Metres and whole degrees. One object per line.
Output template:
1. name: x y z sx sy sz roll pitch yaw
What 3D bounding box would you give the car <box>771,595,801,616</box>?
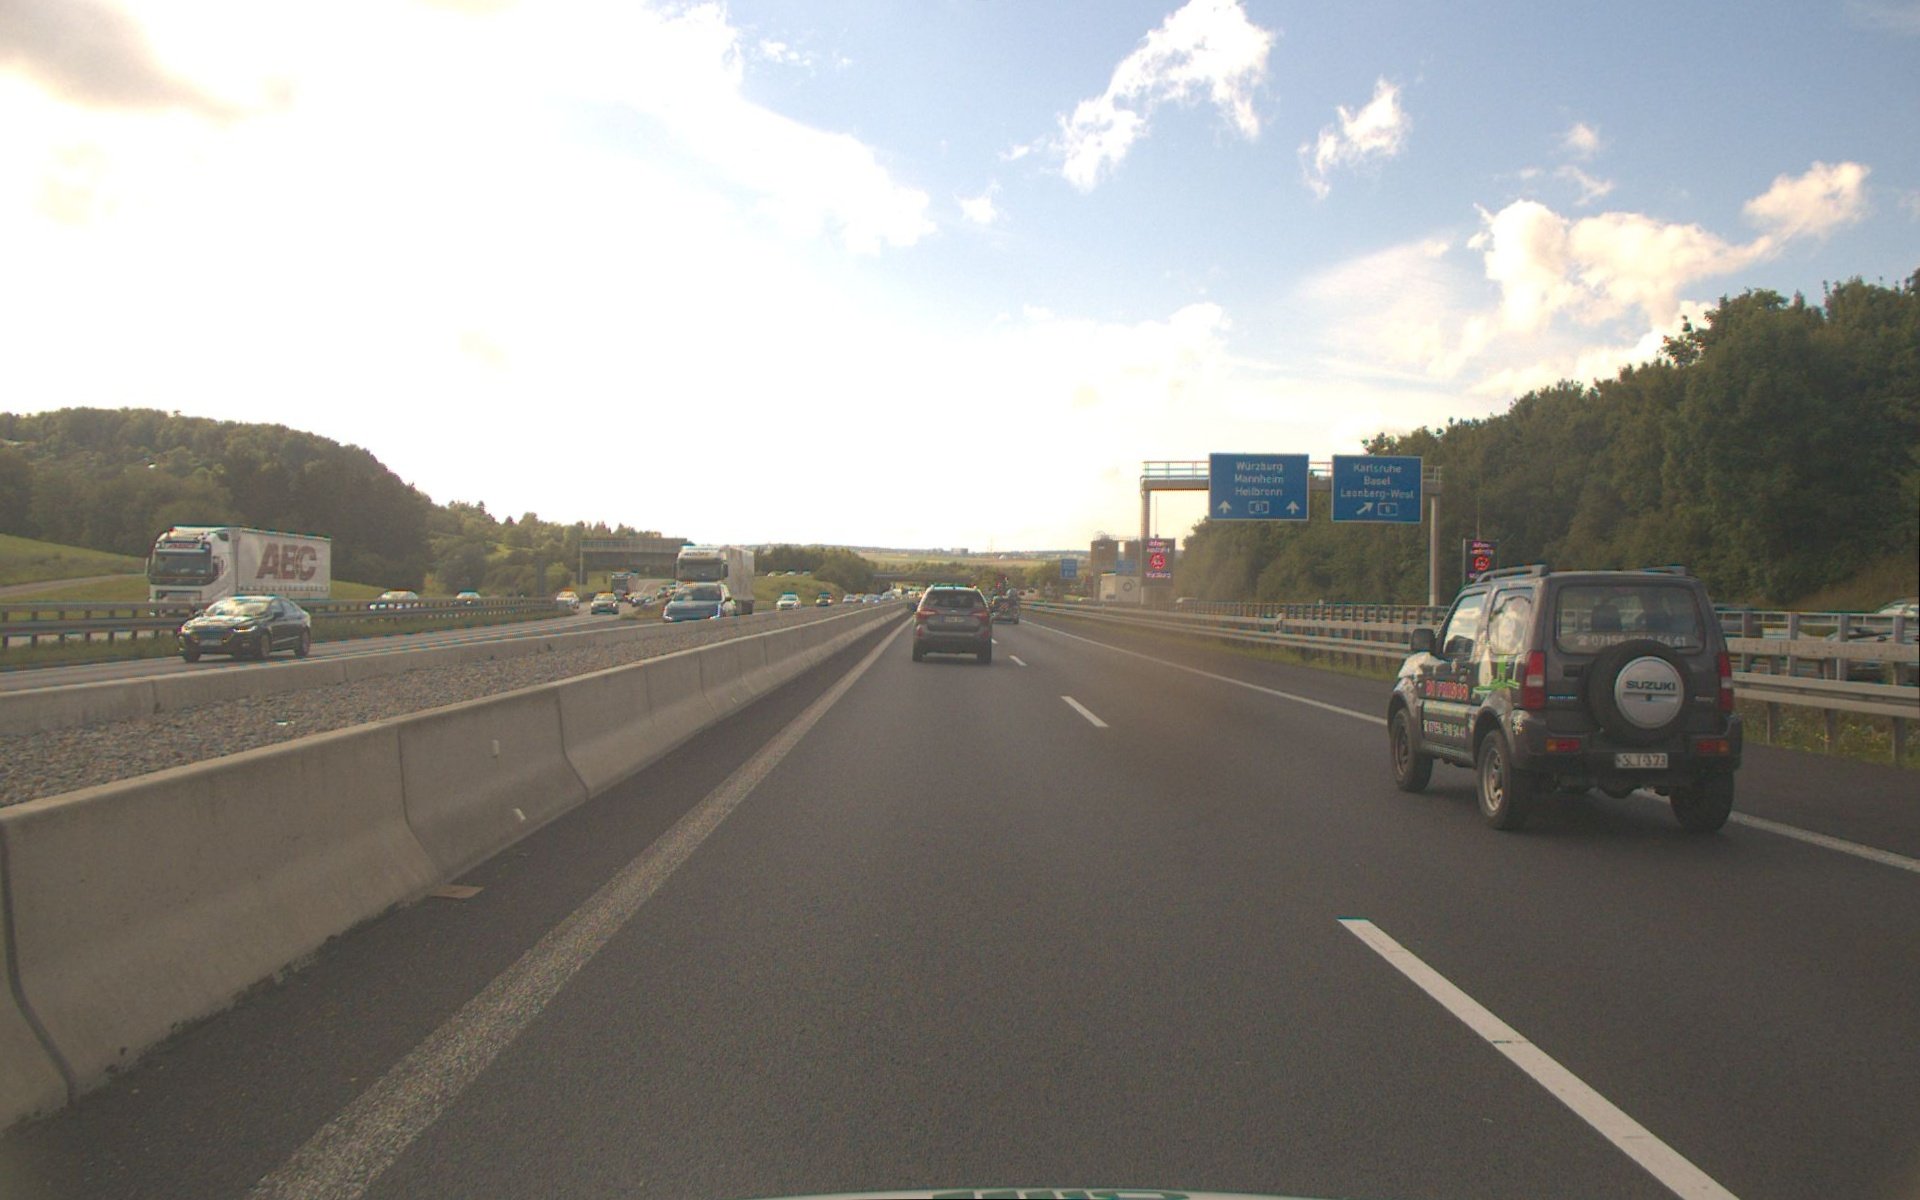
1. car: -14.091 0.448 134.308 1.953 1.646 5.001 0 0 -1

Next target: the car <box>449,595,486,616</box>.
1. car: -40.141 0.437 134.786 1.764 1.646 4.301 0 0 -1

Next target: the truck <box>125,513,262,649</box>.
1. truck: -30.768 -0.724 66.680 2.967 5.232 6.621 0 0 -6

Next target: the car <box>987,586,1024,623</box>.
1. car: 2.660 0.263 97.430 1.953 2.117 3.999 0 0 -1

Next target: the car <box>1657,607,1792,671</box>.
1. car: 21.793 1.071 47.316 1.953 1.738 3.999 0 0 -1

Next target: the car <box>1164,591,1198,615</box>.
1. car: 16.570 0.196 123.908 1.953 1.747 3.999 0 0 -1

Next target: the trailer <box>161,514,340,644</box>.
1. trailer: -31.515 -0.828 74.378 3.048 5.251 14.701 0 0 -6

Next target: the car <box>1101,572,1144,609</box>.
1. car: 16.744 -0.960 170.944 3.504 3.741 7.547 0 0 -1

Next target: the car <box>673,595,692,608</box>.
1. car: -35.235 0.204 210.015 1.764 1.646 4.301 0 0 -1

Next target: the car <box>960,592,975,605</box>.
1. car: 1.044 -0.207 224.626 1.935 1.810 4.119 0 0 -1

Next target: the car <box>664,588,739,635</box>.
1. car: -8.623 0.371 55.583 1.810 1.521 4.972 0 0 -1

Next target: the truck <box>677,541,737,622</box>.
1. truck: -13.416 -0.954 88.037 2.437 4.201 5.298 0 0 -1

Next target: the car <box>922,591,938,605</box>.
1. car: -4.095 -0.275 228.138 2.124 1.876 4.000 0 0 0

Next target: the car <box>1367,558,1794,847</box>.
1. car: 4.363 0.639 12.355 1.632 1.763 4.207 1 0 0

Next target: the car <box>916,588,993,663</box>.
1. car: -0.118 0.572 38.755 1.714 1.659 3.609 0 0 0

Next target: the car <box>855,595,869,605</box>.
1. car: -14.883 0.042 252.438 1.953 1.559 4.506 0 0 -1

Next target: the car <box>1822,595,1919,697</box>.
1. car: 15.178 0.694 25.160 1.953 1.510 3.998 1 0 -2

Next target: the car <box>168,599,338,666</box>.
1. car: -17.057 0.744 40.219 1.903 1.521 5.305 0 0 -1

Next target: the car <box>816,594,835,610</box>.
1. car: -14.470 0.199 178.310 1.764 1.646 4.301 0 0 -1

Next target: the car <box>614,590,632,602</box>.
1. car: -47.751 -0.592 234.521 1.764 1.646 4.301 0 0 -1

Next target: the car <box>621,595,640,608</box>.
1. car: -42.711 0.235 214.439 1.764 1.646 4.301 0 0 -1

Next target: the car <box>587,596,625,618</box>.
1. car: -25.262 0.504 118.171 1.903 1.521 4.127 0 0 -1

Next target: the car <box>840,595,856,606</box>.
1. car: -15.072 0.066 222.470 1.953 1.481 4.180 0 0 -1

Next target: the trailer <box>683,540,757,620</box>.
1. trailer: -13.483 -1.058 94.126 2.437 4.201 13.280 0 0 -1

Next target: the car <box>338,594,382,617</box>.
1. car: -44.737 0.395 123.462 1.764 1.646 4.301 0 0 -1
